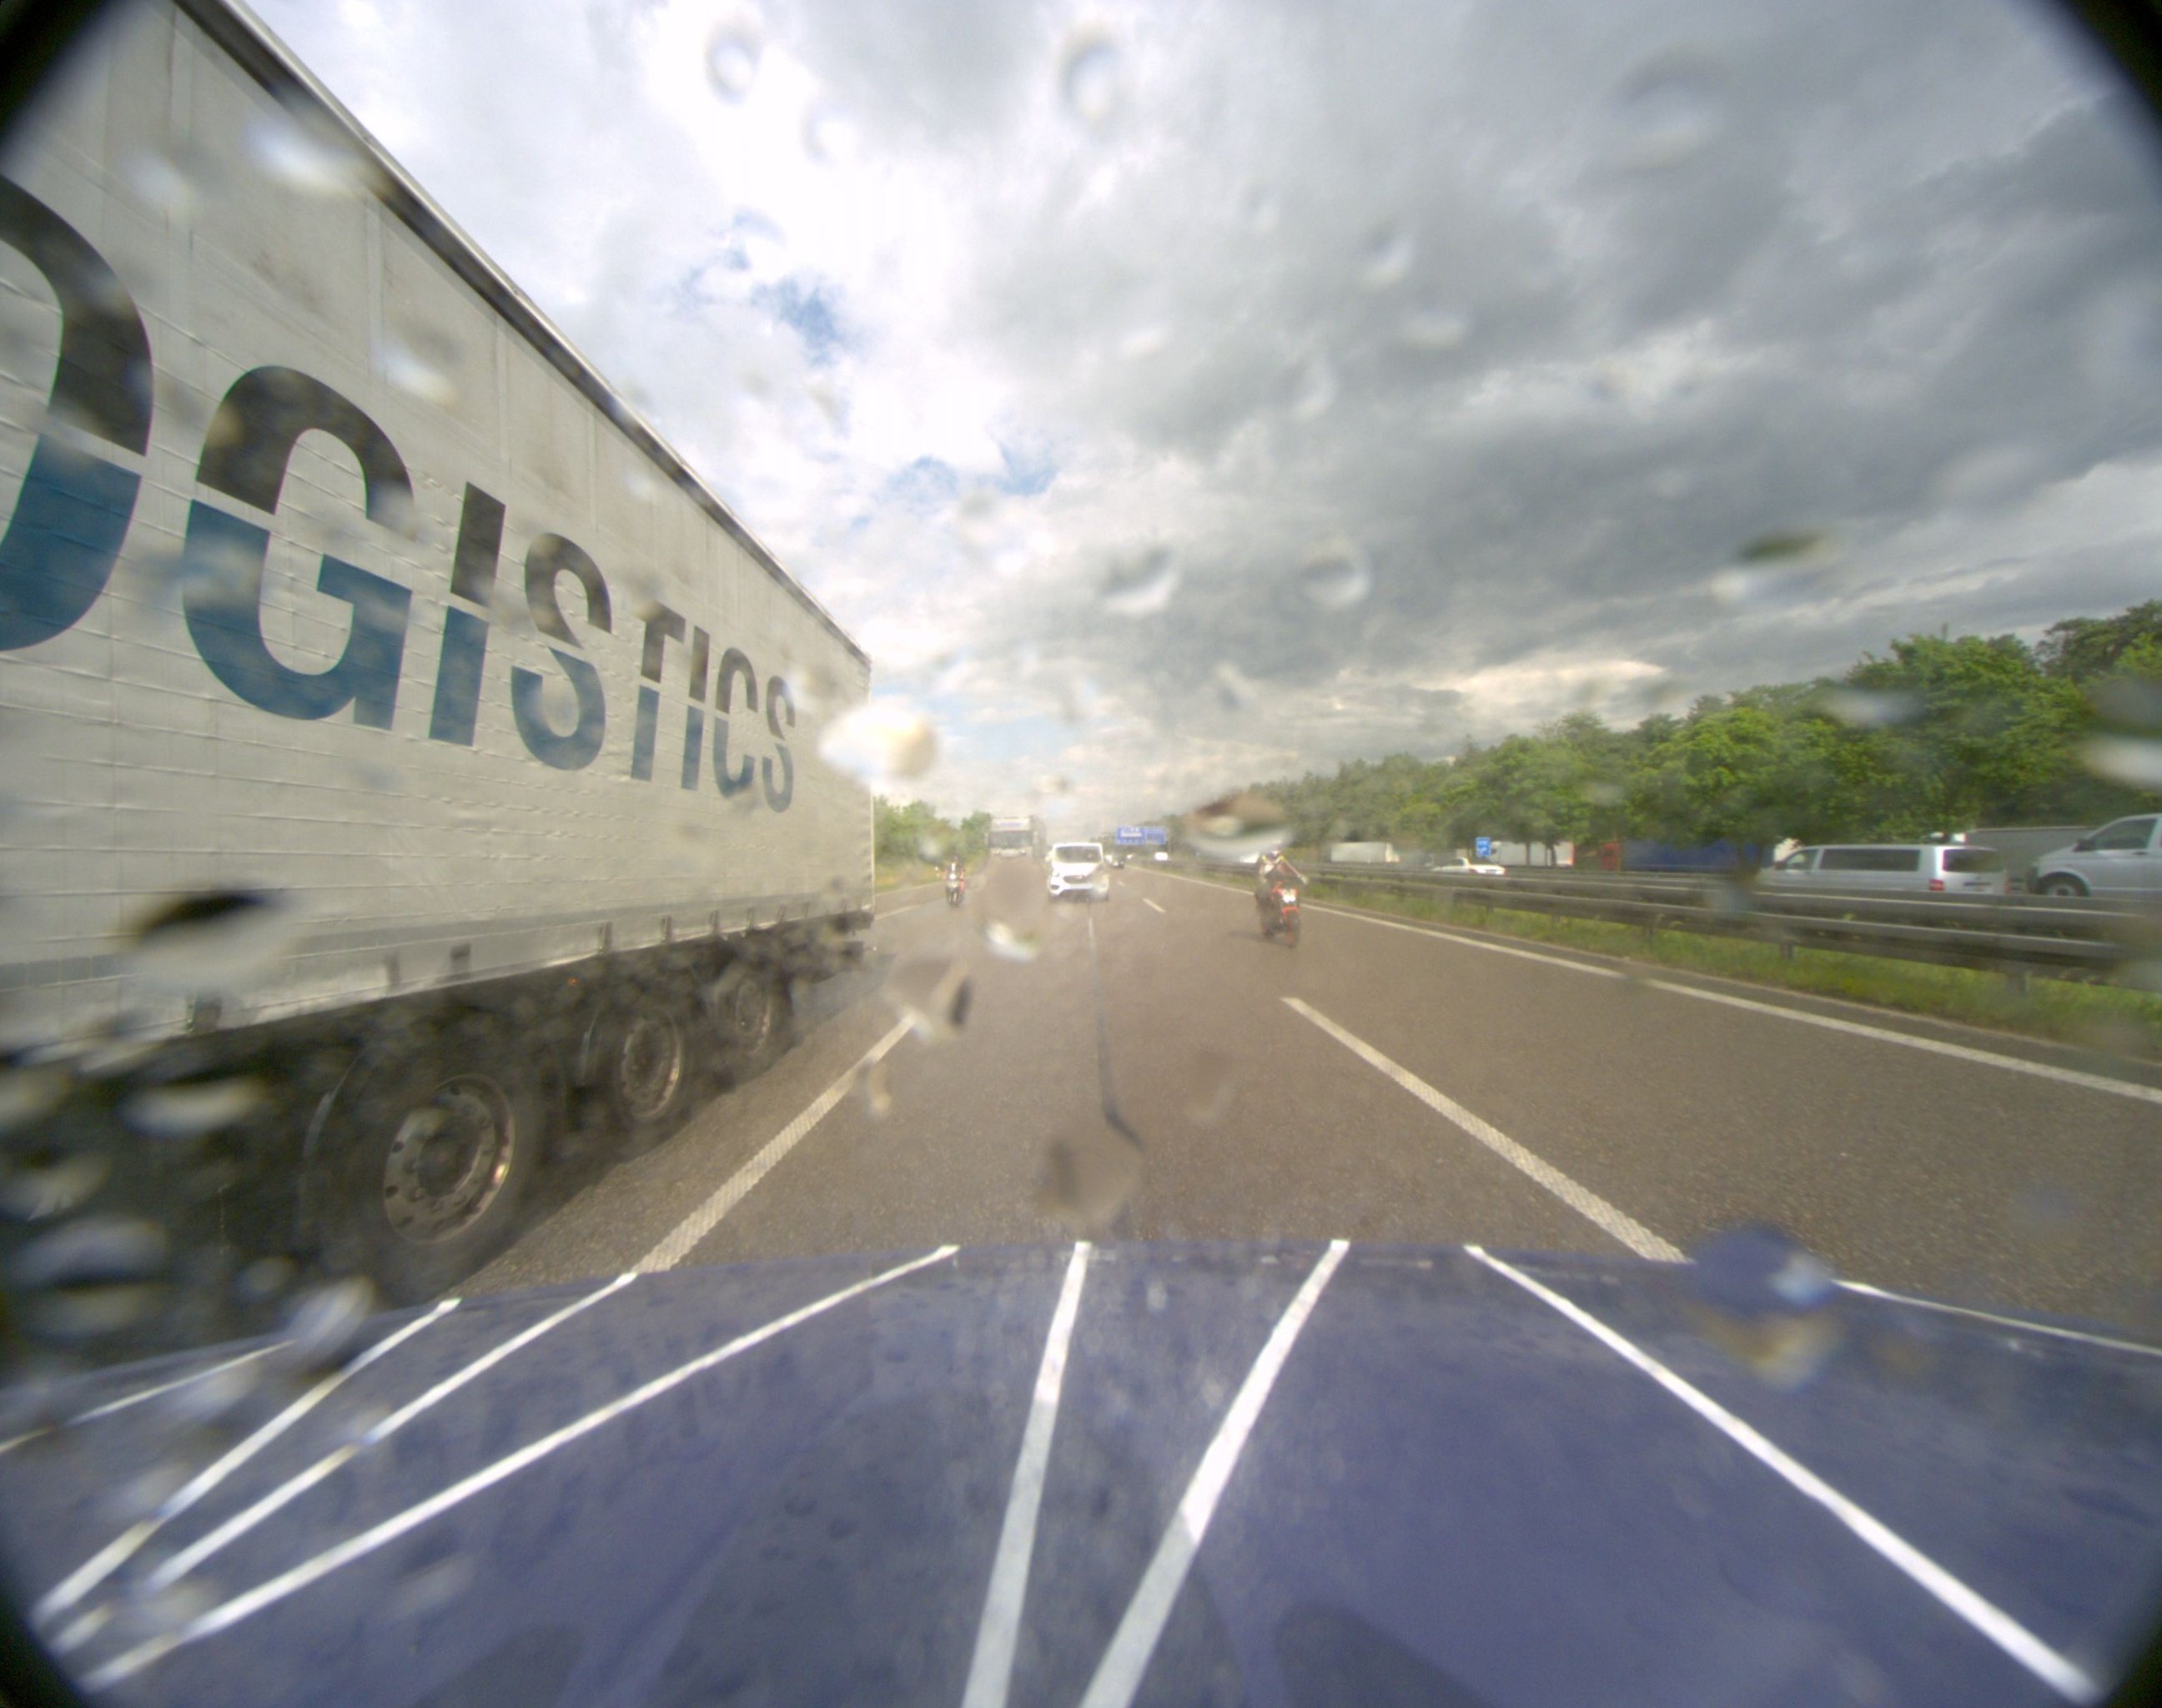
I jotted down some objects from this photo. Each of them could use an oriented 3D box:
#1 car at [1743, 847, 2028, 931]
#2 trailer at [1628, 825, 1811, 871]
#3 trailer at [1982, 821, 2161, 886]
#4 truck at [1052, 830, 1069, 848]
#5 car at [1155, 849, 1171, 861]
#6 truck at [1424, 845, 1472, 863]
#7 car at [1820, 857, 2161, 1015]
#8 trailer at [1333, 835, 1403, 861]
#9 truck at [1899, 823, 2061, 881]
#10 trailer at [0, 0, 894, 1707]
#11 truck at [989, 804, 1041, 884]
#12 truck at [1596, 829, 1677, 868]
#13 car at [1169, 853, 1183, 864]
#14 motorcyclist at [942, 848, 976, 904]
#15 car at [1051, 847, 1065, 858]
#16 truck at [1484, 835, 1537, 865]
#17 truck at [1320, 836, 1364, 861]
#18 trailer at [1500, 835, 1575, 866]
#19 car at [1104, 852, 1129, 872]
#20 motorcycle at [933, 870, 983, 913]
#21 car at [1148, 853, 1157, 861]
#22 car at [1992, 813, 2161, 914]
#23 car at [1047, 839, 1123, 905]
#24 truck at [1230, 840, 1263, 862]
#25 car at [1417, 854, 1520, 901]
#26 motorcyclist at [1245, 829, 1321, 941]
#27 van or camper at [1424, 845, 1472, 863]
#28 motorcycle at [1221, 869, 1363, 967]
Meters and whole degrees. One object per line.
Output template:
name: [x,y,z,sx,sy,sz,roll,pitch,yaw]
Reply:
car: [21.055,0.785,20.341,2.051,1.880,5.258,-2,1,0]
trailer: [52.666,-0.488,63.582,2.832,3.385,13.417,-1,0,-7]
trailer: [55.149,-0.044,38.727,3.356,3.198,12.471,-1,0,-2]
truck: [-4.188,-3.119,160.604,3.218,3.607,10.152,-2,1,0]
car: [13.323,0.142,123.888,2.051,1.880,5.258,-2,1,0]
truck: [47.175,-0.009,97.868,2.126,2.252,6.311,-2,1,-13]
car: [14.803,1.061,11.523,2.051,1.880,5.258,-2,1,0]
trailer: [42.836,-0.828,113.974,3.216,3.717,12.553,-1,0,-14]
truck: [54.842,-0.138,46.577,3.362,3.254,5.505,-2,1,-4]
trailer: [-3.793,-0.175,1.547,3.292,3.876,14.126,-2,0,0]
truck: [-3.777,-0.597,44.806,2.650,4.250,6.882,-2,1,-3]
truck: [51.783,-0.506,71.022,2.869,3.436,5.892,-2,1,-7]
car: [18.887,0.858,151.306,2.306,1.880,4.778,-2,1,0]
motorcyclist: [-3.847,0.671,23.966,0.883,1.696,1.000,-2,1,-2]
car: [-4.244,-0.324,140.942,2.350,2.033,5.142,-2,1,0]
truck: [49.061,-0.442,86.927,2.663,3.249,5.081,-2,1,-10]
truck: [41.215,-0.866,120.352,3.219,3.683,6.907,-2,1,-14]
trailer: [49.794,-0.434,83.190,2.588,3.214,7.734,-1,1,-10]
car: [3.872,0.862,83.862,2.350,2.033,5.142,-2,1,0]
motorcycle: [-3.828,1.133,24.031,1.188,1.142,3.193,-2,1,-3]
car: [17.486,0.668,185.651,1.835,1.880,4.778,-2,1,0]
car: [21.137,0.144,14.143,2.051,1.880,5.258,-2,1,0]
car: [0.128,0.542,26.845,2.350,2.033,5.142,-2,1,0]
truck: [21.606,-0.482,99.469,2.849,2.666,7.190,-2,1,1]
car: [17.690,1.015,35.032,2.051,1.880,5.258,-2,1,0]
motorcyclist: [3.222,0.469,12.195,0.883,1.696,1.000,-2,1,-2]
van or camper: [47.123,-0.006,97.727,2.126,2.252,6.316,-2,1,-13]
motorcycle: [3.217,0.910,12.097,1.188,1.219,3.193,-2,1,-3]
